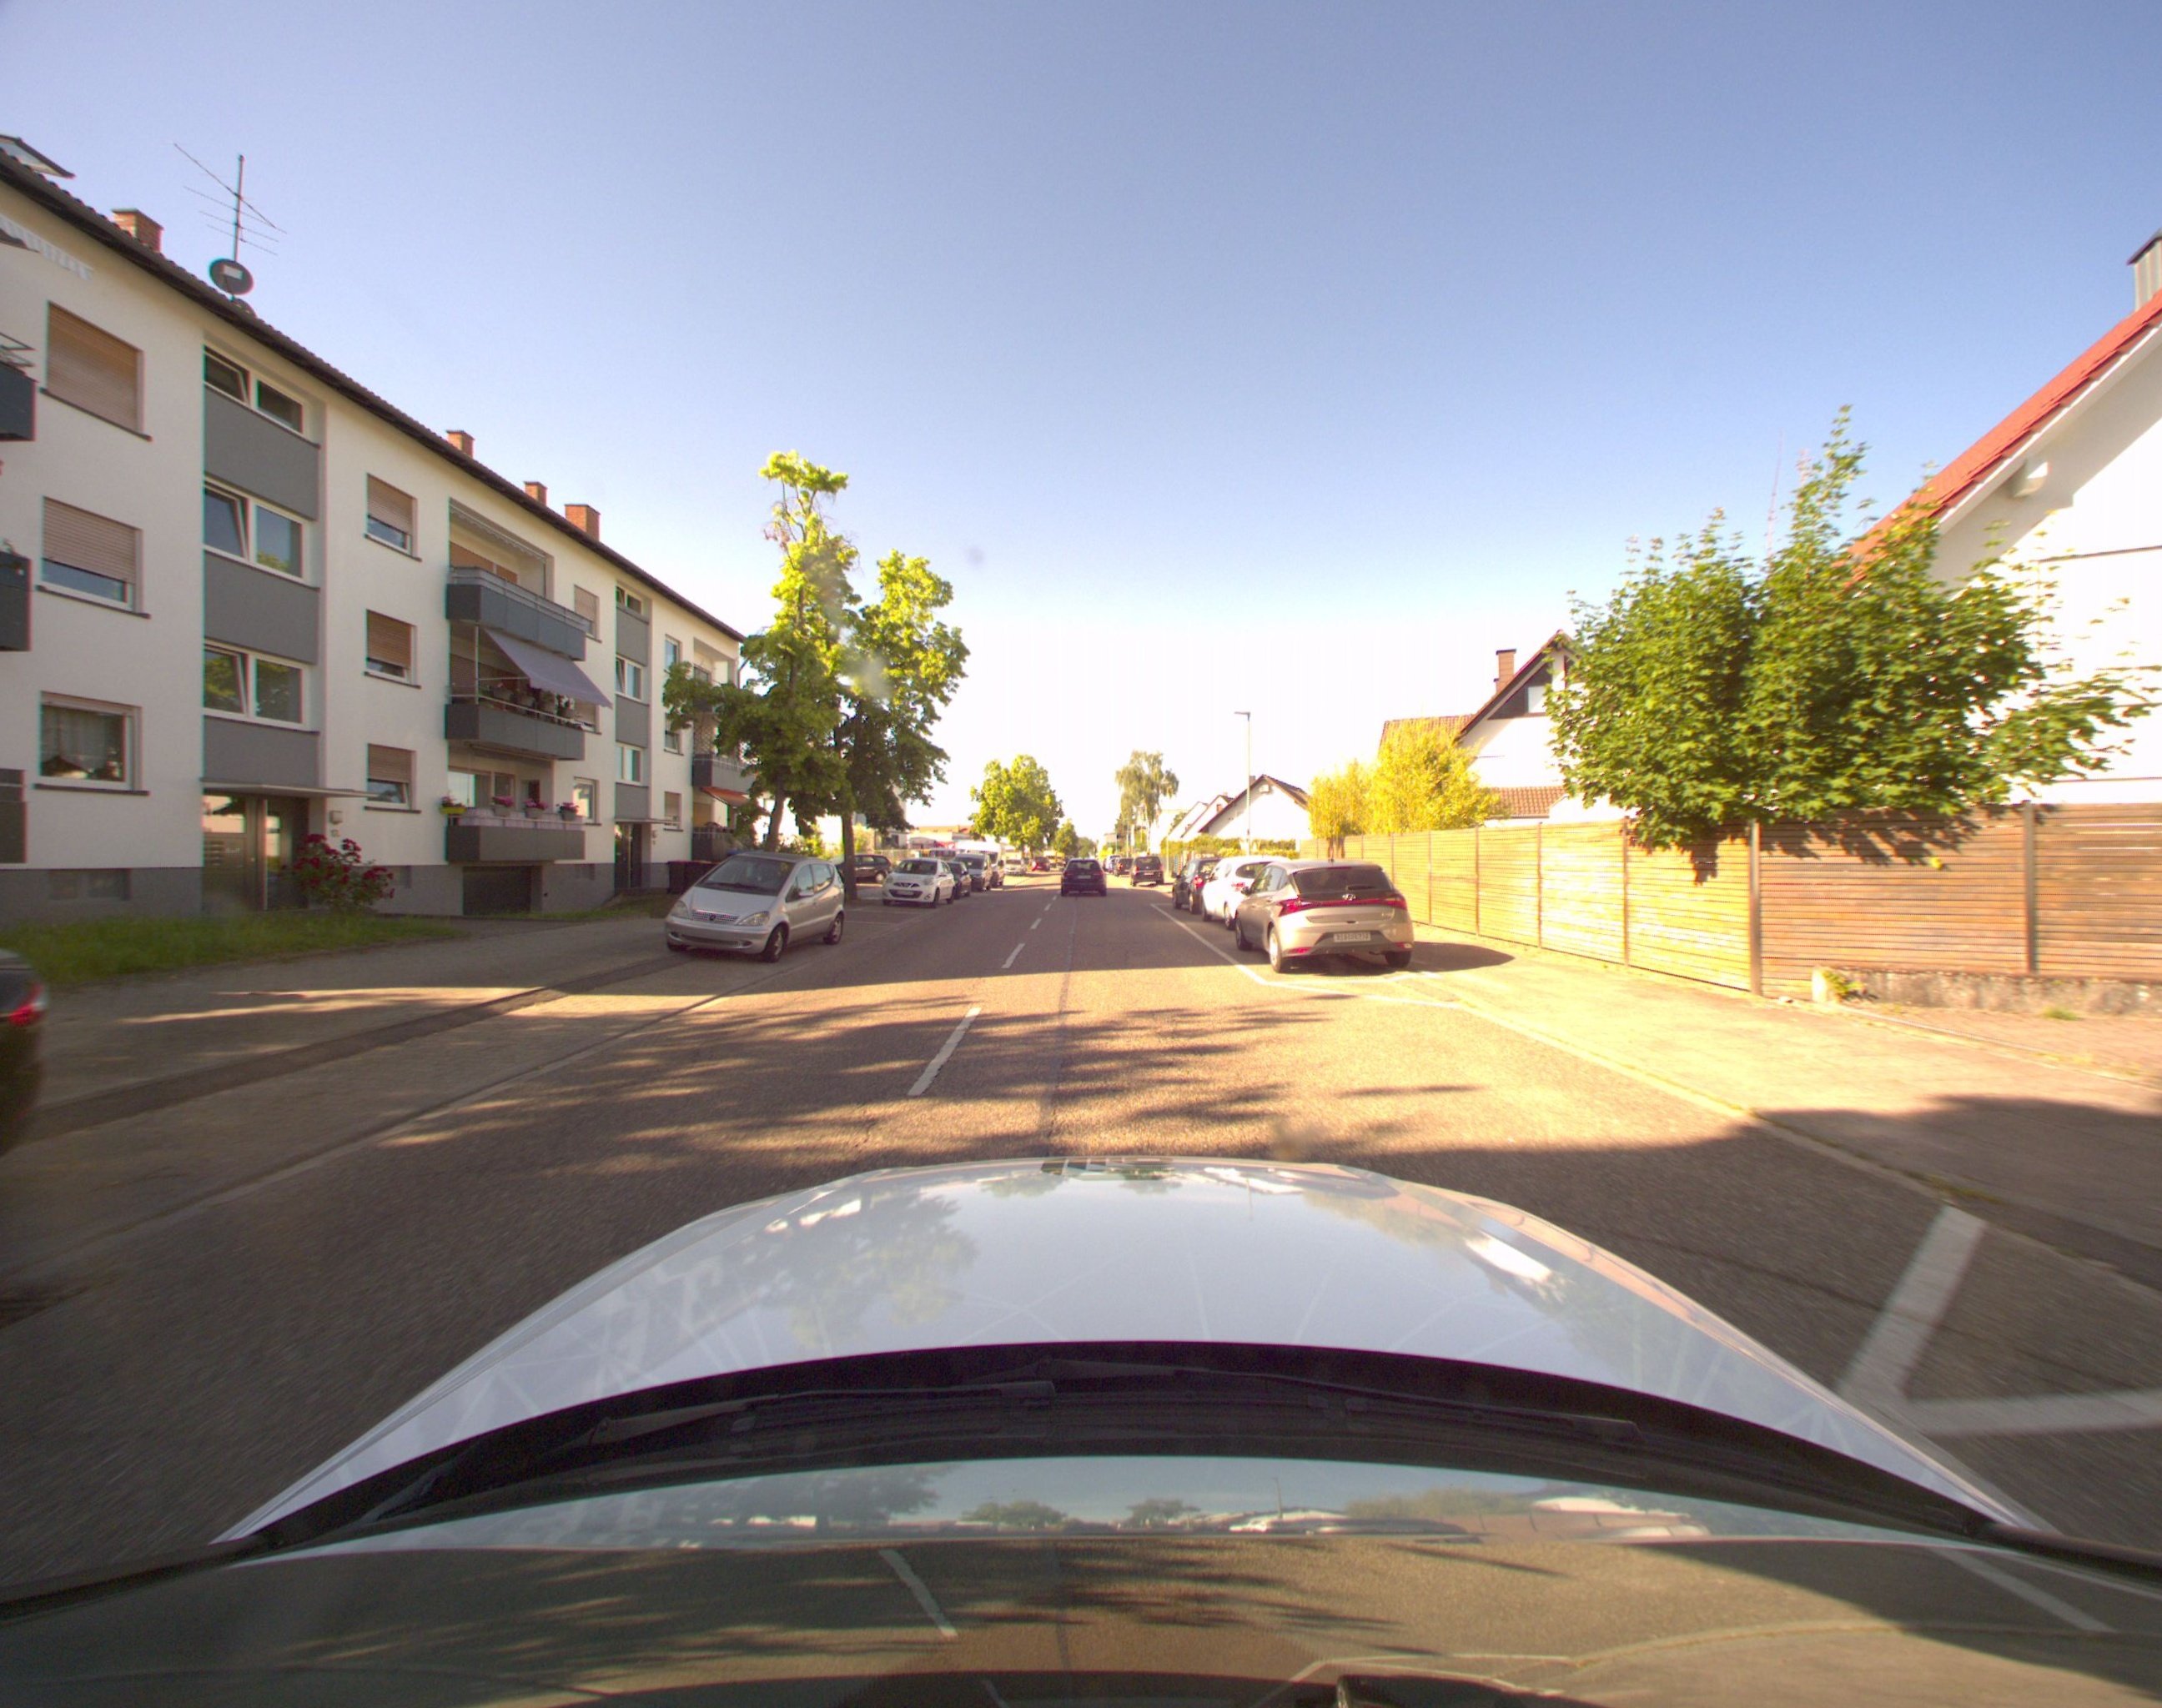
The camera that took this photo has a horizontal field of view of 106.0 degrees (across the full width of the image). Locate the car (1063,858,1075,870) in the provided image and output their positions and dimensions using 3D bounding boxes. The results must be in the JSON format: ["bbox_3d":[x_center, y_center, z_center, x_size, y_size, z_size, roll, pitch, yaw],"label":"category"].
[{"bbox_3d":[-2.069,1.767,141.546,1.888,2.031,4.817,-2,-1,1],"label":"car"}]

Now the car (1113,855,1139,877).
[{"bbox_3d":[3.501,0.964,64.141,1.771,1.659,3.813,1,-1,-2],"label":"car"}]

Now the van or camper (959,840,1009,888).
[{"bbox_3d":[-5.399,0.565,46.085,2.116,2.490,5.553,3,-1,0],"label":"van or camper"}]

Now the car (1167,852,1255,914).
[{"bbox_3d":[3.571,0.764,22.965,1.653,1.601,3.811,1,-1,-3],"label":"car"}]

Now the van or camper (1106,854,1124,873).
[{"bbox_3d":[3.525,0.987,84.375,1.713,1.891,4.179,1,-1,1],"label":"van or camper"}]

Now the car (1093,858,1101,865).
[{"bbox_3d":[4.079,1.862,210.637,1.912,1.825,4.079,0,-1,0],"label":"car"}]

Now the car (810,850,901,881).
[{"bbox_3d":[-11.639,0.601,42.337,1.594,1.514,4.415,0,-1,40],"label":"car"}]

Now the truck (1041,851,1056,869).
[{"bbox_3d":[-5.570,1.097,140.739,2.396,2.983,7.242,2,-1,-1],"label":"truck"}]

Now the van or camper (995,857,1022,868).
[{"bbox_3d":[-12.891,1.469,145.316,4.519,2.014,2.255,0,-1,6],"label":"van or camper"}]

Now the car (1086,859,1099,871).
[{"bbox_3d":[1.703,1.614,119.595,1.812,1.670,3.644,-1,-1,2],"label":"car"}]

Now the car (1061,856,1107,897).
[{"bbox_3d":[0.160,0.855,32.449,1.705,1.532,3.688,0,0,1],"label":"car"}]

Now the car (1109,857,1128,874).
[{"bbox_3d":[3.546,1.103,78.131,1.713,1.505,3.563,1,-1,1],"label":"car"}]

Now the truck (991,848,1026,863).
[{"bbox_3d":[-13.210,0.359,148.874,5.883,2.568,2.230,1,-1,11],"label":"truck"}]

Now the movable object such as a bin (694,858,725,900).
[{"bbox_3d":[-11.493,0.755,25.223,0.636,1.279,0.672,0,-1,3],"label":"movable object such as a bin"}]

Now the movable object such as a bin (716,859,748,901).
[{"bbox_3d":[-10.805,0.804,25.212,0.684,1.279,0.672,0,-1,3],"label":"movable object such as a bin"}]

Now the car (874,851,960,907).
[{"bbox_3d":[-5.158,0.761,26.129,1.686,1.566,3.909,3,0,3],"label":"car"}]

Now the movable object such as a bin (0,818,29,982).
[{"bbox_3d":[-10.857,0.429,7.226,1.285,1.543,1.328,0,-1,2],"label":"movable object such as a bin"}]

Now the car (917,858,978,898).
[{"bbox_3d":[-5.289,0.927,32.705,1.604,1.435,4.313,2,0,1],"label":"car"}]

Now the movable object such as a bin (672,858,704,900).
[{"bbox_3d":[-12.166,0.754,25.226,0.636,1.279,0.672,0,-1,3],"label":"movable object such as a bin"}]

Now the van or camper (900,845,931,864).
[{"bbox_3d":[-23.773,0.120,117.477,2.151,2.715,6.288,0,-1,11],"label":"van or camper"}]

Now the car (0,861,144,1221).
[{"bbox_3d":[-5.405,0.741,1.616,1.717,1.494,4.541,5,-1,-1],"label":"car"}]

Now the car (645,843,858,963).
[{"bbox_3d":[-5.312,0.733,13.750,1.715,1.593,3.911,5,-1,2],"label":"car"}]

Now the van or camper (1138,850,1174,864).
[{"bbox_3d":[13.118,0.560,142.533,5.844,2.541,2.270,0,-1,-27],"label":"van or camper"}]

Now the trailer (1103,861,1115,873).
[{"bbox_3d":[3.632,1.702,106.434,1.621,1.538,3.199,0,-1,1],"label":"trailer"}]

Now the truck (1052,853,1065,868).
[{"bbox_3d":[-4.658,1.358,172.089,2.394,2.983,6.373,2,-1,1],"label":"truck"}]

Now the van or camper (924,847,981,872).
[{"bbox_3d":[-12.391,0.545,78.548,4.859,2.320,2.251,0,-1,12],"label":"van or camper"}]

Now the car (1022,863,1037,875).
[{"bbox_3d":[-7.435,2.198,118.125,1.855,1.590,4.274,0,-3,0],"label":"car"}]

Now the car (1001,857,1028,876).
[{"bbox_3d":[-5.484,1.027,67.263,1.680,1.435,4.211,2,0,2],"label":"car"}]

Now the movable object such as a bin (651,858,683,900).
[{"bbox_3d":[-12.835,0.763,25.255,0.636,1.279,0.672,0,-1,3],"label":"movable object such as a bin"}]

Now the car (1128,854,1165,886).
[{"bbox_3d":[3.551,0.871,44.782,1.769,1.659,4.304,1,-1,1],"label":"car"}]

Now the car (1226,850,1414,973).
[{"bbox_3d":[3.278,0.722,11.939,1.637,1.494,3.889,0,0,0],"label":"car"}]

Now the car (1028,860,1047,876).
[{"bbox_3d":[-5.001,1.594,94.280,1.797,1.752,4.341,2,-1,1],"label":"car"}]

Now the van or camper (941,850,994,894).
[{"bbox_3d":[-5.422,0.840,39.434,1.871,2.014,4.279,1,-1,1],"label":"van or camper"}]

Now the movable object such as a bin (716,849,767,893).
[{"bbox_3d":[-11.637,0.586,27.974,1.226,1.482,1.116,0,-1,3],"label":"movable object such as a bin"}]

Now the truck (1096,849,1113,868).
[{"bbox_3d":[3.780,0.784,130.467,2.395,2.937,7.015,-2,-1,0],"label":"truck"}]

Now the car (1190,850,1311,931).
[{"bbox_3d":[3.646,0.739,18.149,1.720,1.601,3.811,1,-1,-3],"label":"car"}]
